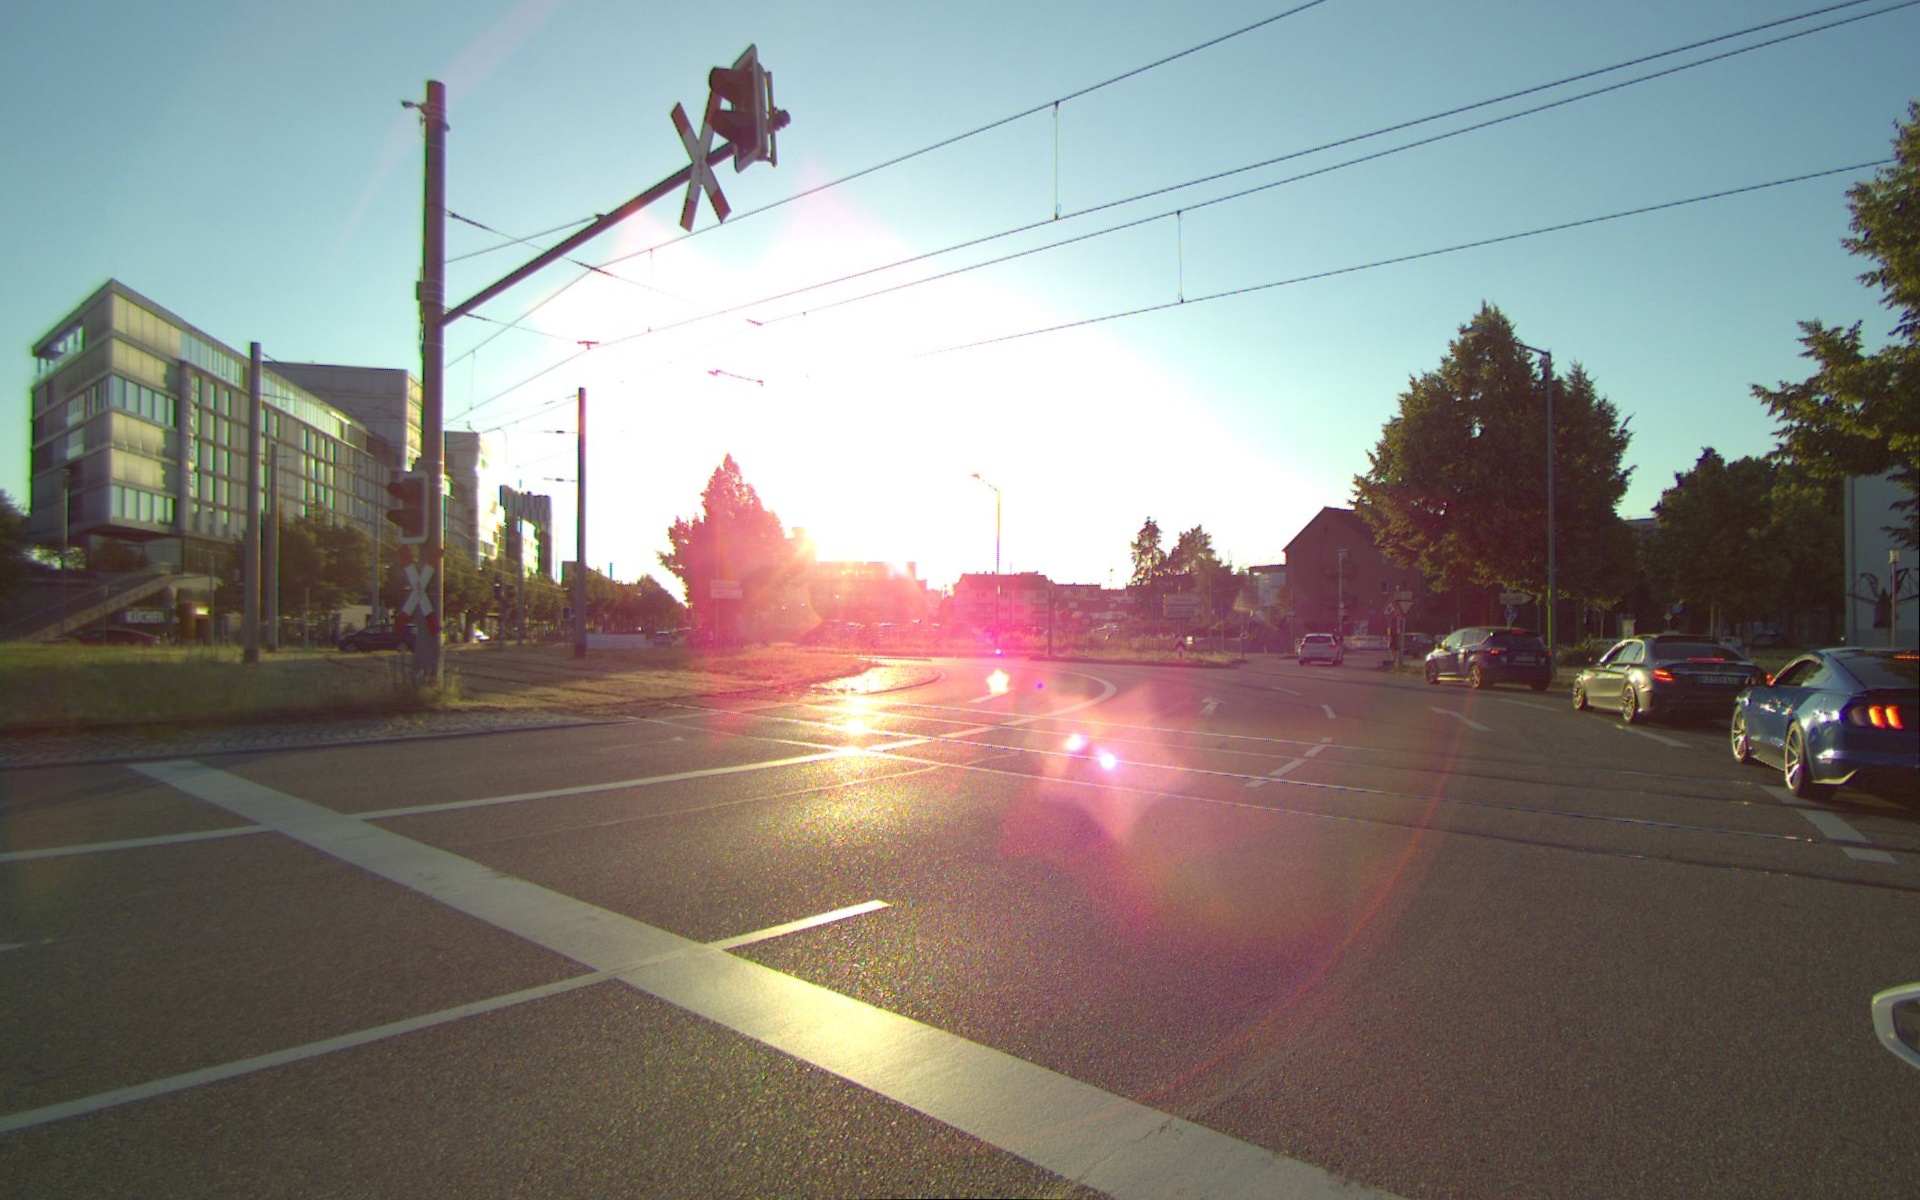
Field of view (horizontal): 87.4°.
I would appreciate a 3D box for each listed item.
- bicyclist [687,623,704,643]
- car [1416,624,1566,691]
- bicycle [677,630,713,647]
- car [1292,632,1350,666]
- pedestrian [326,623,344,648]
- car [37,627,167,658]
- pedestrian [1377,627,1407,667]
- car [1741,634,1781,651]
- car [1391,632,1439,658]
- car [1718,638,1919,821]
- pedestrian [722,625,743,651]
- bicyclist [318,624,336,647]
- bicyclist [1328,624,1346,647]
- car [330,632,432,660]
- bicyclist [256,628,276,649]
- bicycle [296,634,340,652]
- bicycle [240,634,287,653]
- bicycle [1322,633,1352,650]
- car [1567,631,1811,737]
[{"bbox_3d":[-18.918,2.350,71.833,0.959,1.412,0.755,0,-2,3],"label":"bicyclist"},{"bbox_3d":[14.016,1.472,26.787,1.919,1.623,4.079,1,-2,1],"label":"car"},{"bbox_3d":[-18.932,2.747,71.843,2.361,1.182,0.755,0,-2,3],"label":"bicycle"},{"bbox_3d":[16.804,2.237,46.658,1.848,1.420,3.909,2,0,30],"label":"car"},{"bbox_3d":[-43.380,2.484,69.717,0.875,1.730,0.791,1,-2,-21],"label":"pedestrian"},{"bbox_3d":[-41.369,2.022,48.584,4.545,1.451,1.928,1,-1,-33],"label":"car"},{"bbox_3d":[18.756,2.026,43.605,0.836,1.708,0.880,1,-1,-28],"label":"pedestrian"},{"bbox_3d":[70.483,3.683,88.386,3.880,1.420,1.862,1,-1,-37],"label":"car"},{"bbox_3d":[26.678,2.609,58.839,1.851,1.420,3.903,-1,-2,35],"label":"car"},{"bbox_3d":[8.853,1.094,9.679,1.923,1.360,4.661,0,-1,30],"label":"car"},{"bbox_3d":[-16.217,2.680,71.638,1.138,1.851,0.980,0,-2,7],"label":"pedestrian"},{"bbox_3d":[-43.296,2.402,68.700,0.966,1.545,0.749,1,-2,-27],"label":"bicyclist"},{"bbox_3d":[26.696,2.489,71.101,0.967,1.634,0.748,1,-2,-33],"label":"bicyclist"},{"bbox_3d":[-30.723,2.422,53.423,4.238,1.451,1.944,0,-1,-5],"label":"car"},{"bbox_3d":[-45.146,2.499,65.347,0.867,1.411,0.750,1,-2,-24],"label":"bicyclist"},{"bbox_3d":[-43.435,2.918,67.993,2.378,1.182,0.749,1,-2,-27],"label":"bicycle"},{"bbox_3d":[-45.222,2.822,65.275,2.376,1.182,0.750,1,-2,-24],"label":"bicycle"},{"bbox_3d":[26.683,2.902,71.112,2.384,1.182,0.748,1,-2,-33],"label":"bicycle"},{"bbox_3d":[11.922,1.279,16.826,1.918,1.446,4.431,1,-1,17],"label":"car"}]
